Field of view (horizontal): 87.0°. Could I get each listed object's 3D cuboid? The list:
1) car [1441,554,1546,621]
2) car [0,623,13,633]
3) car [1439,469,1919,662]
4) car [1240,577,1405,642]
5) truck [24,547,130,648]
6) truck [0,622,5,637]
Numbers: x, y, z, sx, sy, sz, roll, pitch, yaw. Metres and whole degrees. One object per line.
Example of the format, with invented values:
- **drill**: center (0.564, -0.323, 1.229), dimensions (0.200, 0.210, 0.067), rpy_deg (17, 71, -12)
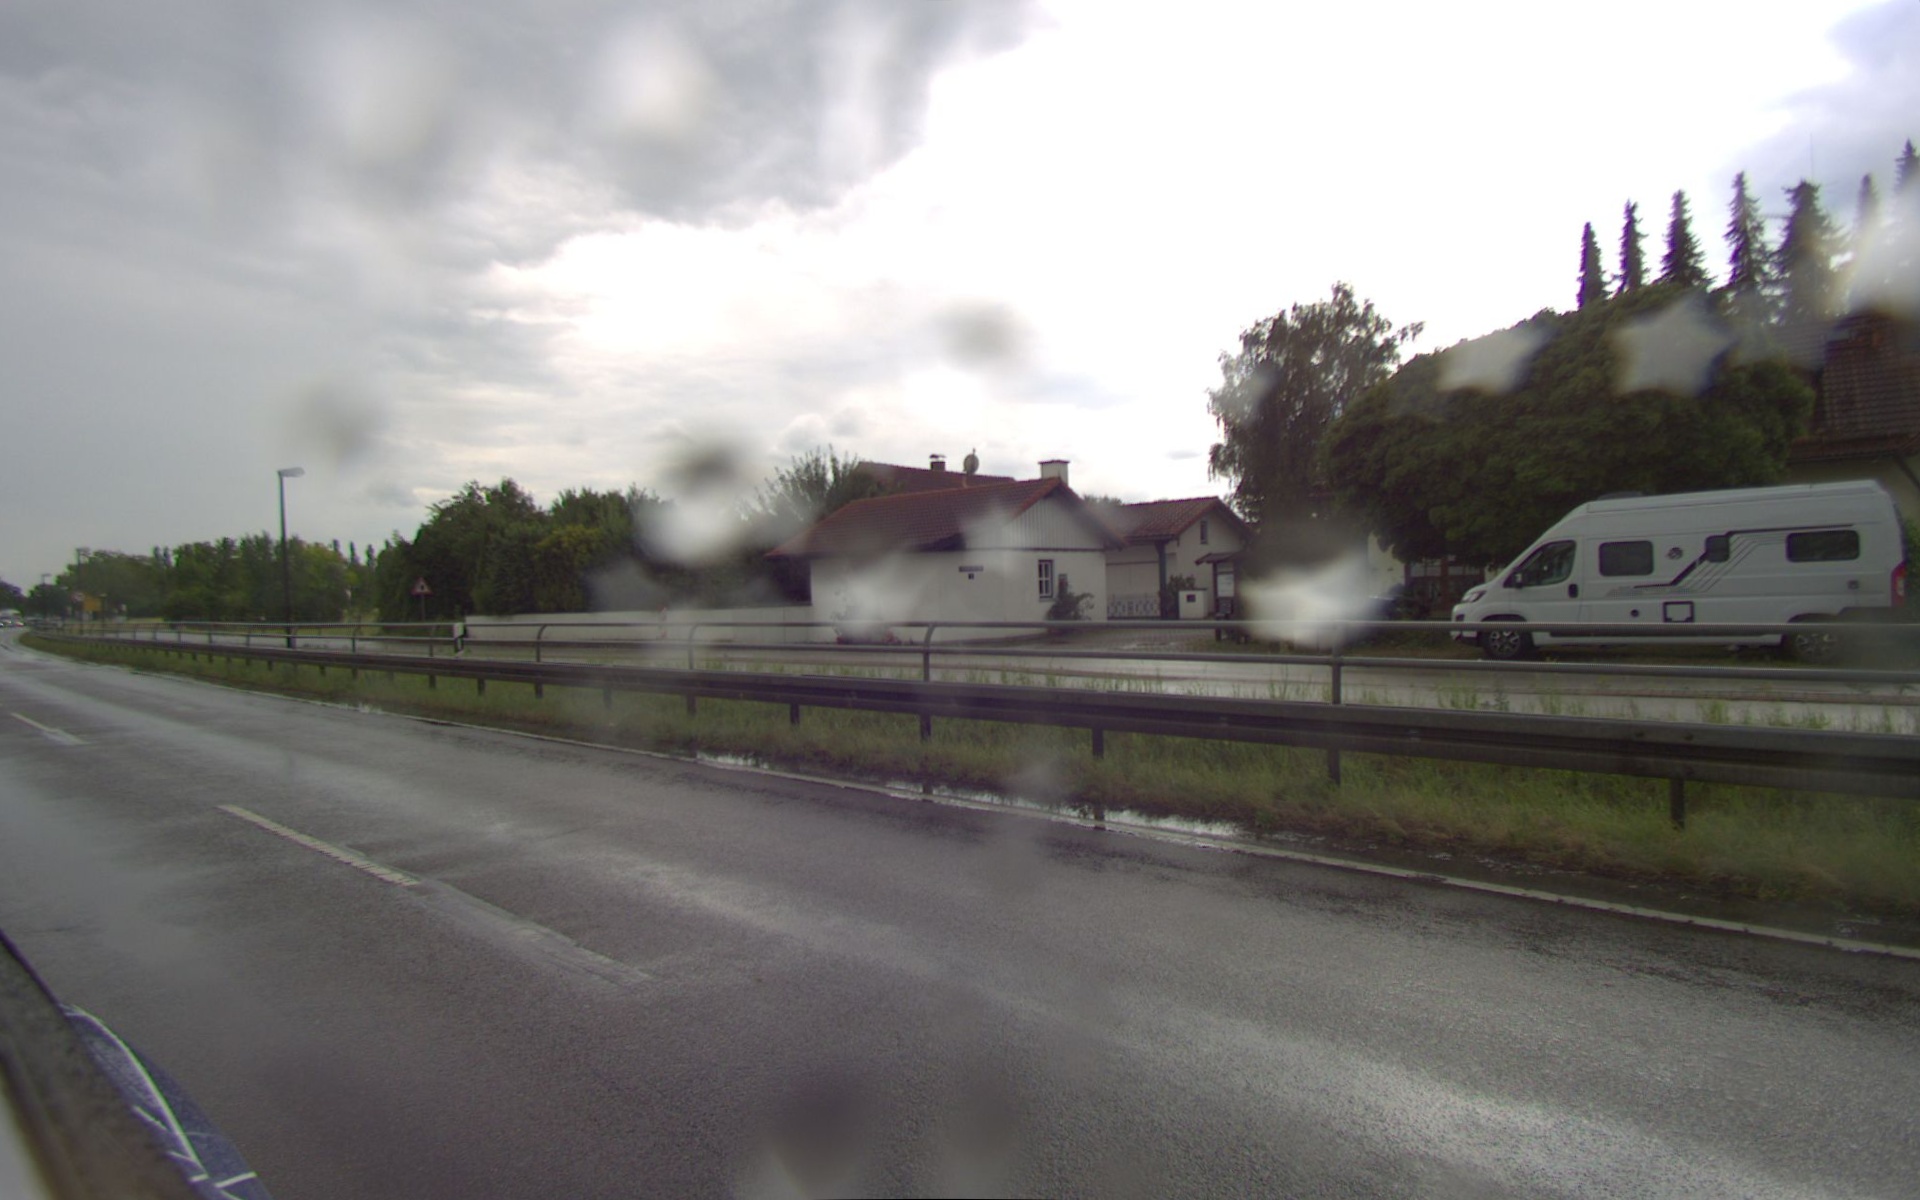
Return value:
- **car**: center (14.307, -0.343, 27.052), dimensions (2.019, 1.567, 3.684), rpy_deg (-4, 0, 35)
- **car**: center (-178.682, 5.306, 189.222), dimensions (4.025, 1.746, 1.788), rpy_deg (-2, 1, 41)
- **car**: center (11.315, -0.429, 16.400), dimensions (6.013, 2.600, 2.215), rpy_deg (-2, 1, 39)
- **car**: center (8.325, 0.222, 23.383), dimensions (3.269, 1.366, 1.433), rpy_deg (-2, 1, 42)
- **truck**: center (-47.842, -0.122, 54.754), dimensions (7.781, 5.071, 3.214), rpy_deg (-2, 1, 42)
- **truck**: center (-168.251, 5.158, 175.968), dimensions (7.169, 2.494, 2.763), rpy_deg (-2, 1, 44)
